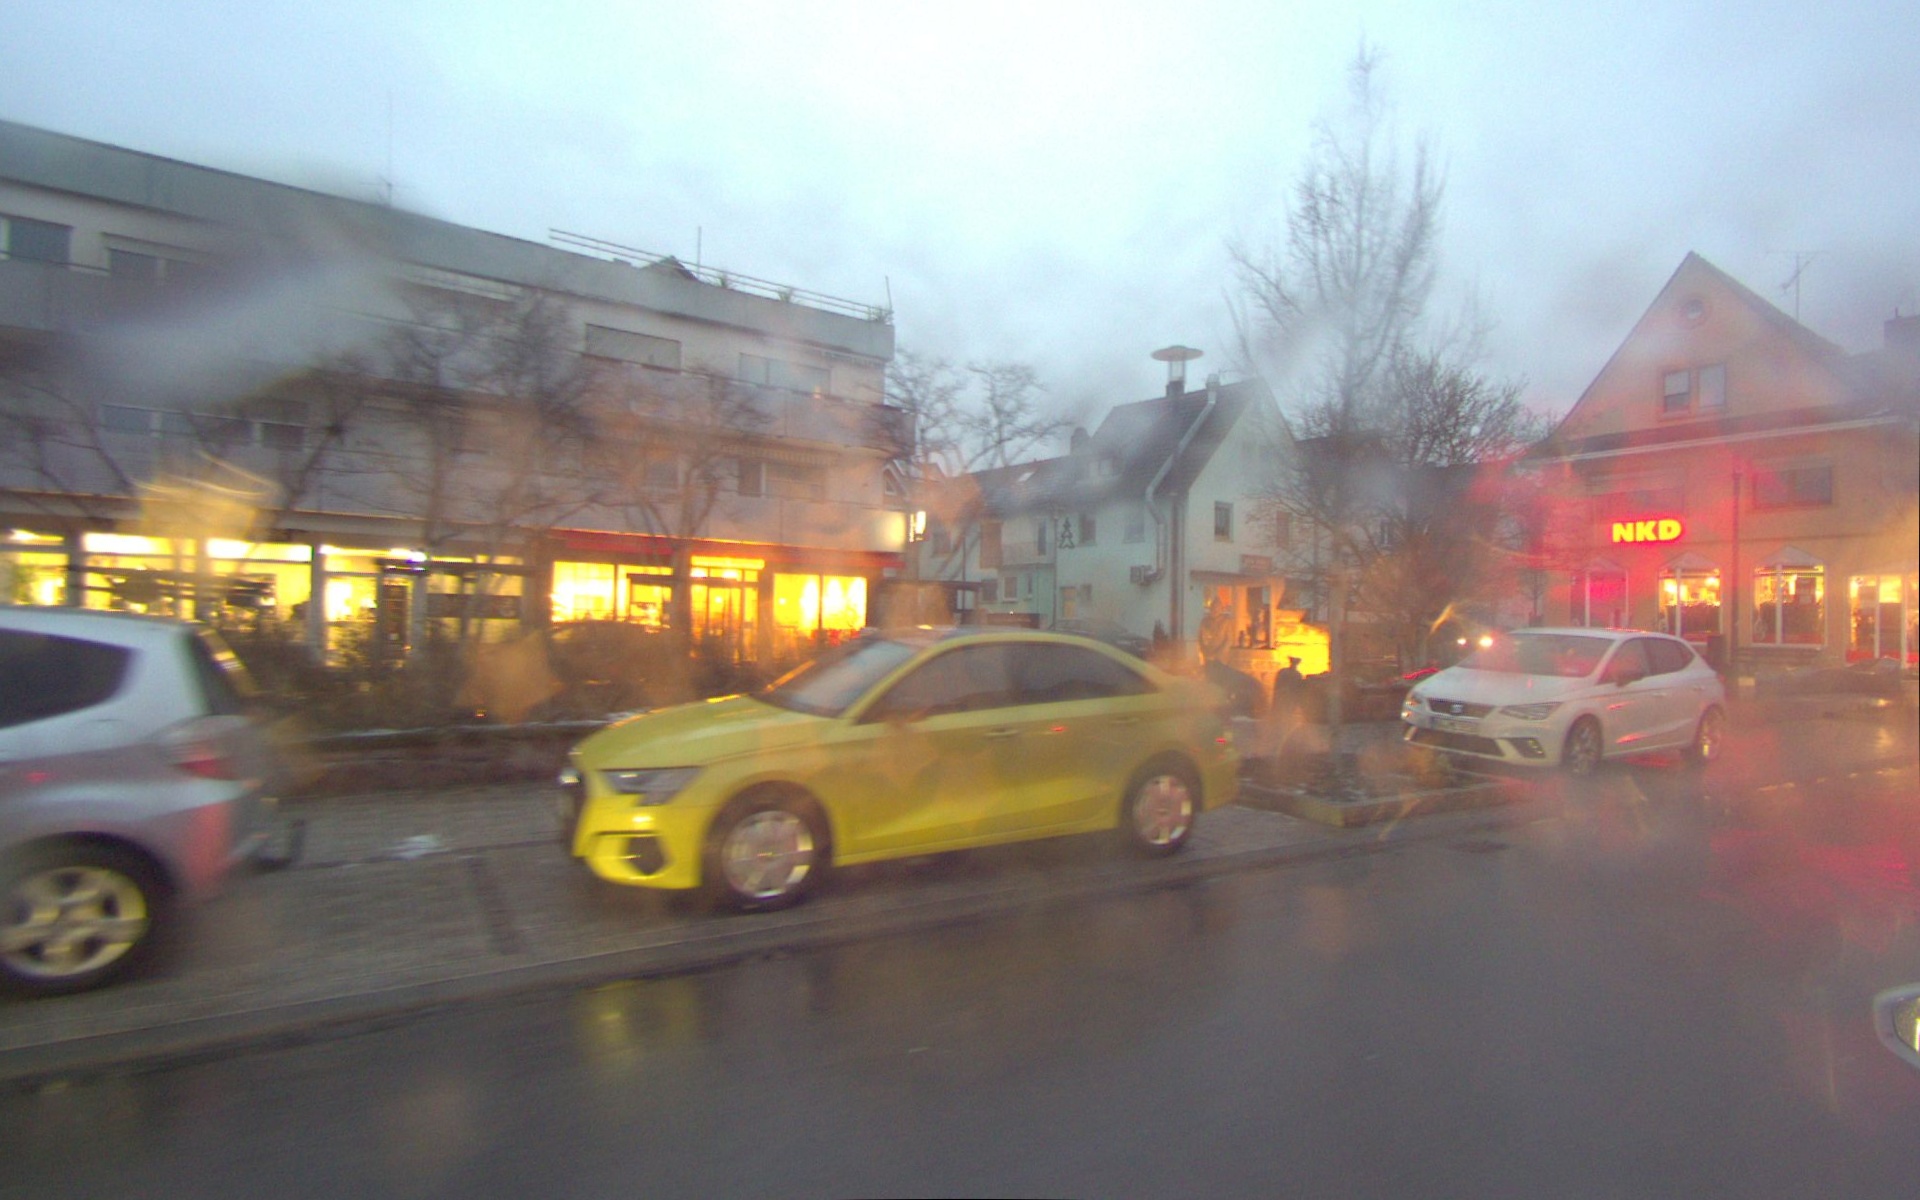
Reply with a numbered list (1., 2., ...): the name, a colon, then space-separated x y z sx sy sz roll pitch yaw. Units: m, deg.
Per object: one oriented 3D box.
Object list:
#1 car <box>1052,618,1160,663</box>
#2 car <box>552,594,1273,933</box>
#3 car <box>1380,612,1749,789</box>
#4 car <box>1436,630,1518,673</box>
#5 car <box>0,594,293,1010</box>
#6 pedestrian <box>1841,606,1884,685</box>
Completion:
1. car: 5.389 1.462 37.451 1.604 1.539 3.854 2 -1 -43
2. car: -0.206 0.799 6.442 4.289 1.536 1.741 1 1 -29
3. car: 6.515 0.954 10.740 3.953 1.536 1.662 1 1 -30
4. car: 23.168 2.273 44.929 3.967 1.743 1.834 2 -1 -40
5. car: -4.871 0.733 3.904 3.732 1.536 1.682 1 0 -33
6. pedestrian: 20.467 1.015 22.783 0.677 1.765 0.584 1 -1 -35
